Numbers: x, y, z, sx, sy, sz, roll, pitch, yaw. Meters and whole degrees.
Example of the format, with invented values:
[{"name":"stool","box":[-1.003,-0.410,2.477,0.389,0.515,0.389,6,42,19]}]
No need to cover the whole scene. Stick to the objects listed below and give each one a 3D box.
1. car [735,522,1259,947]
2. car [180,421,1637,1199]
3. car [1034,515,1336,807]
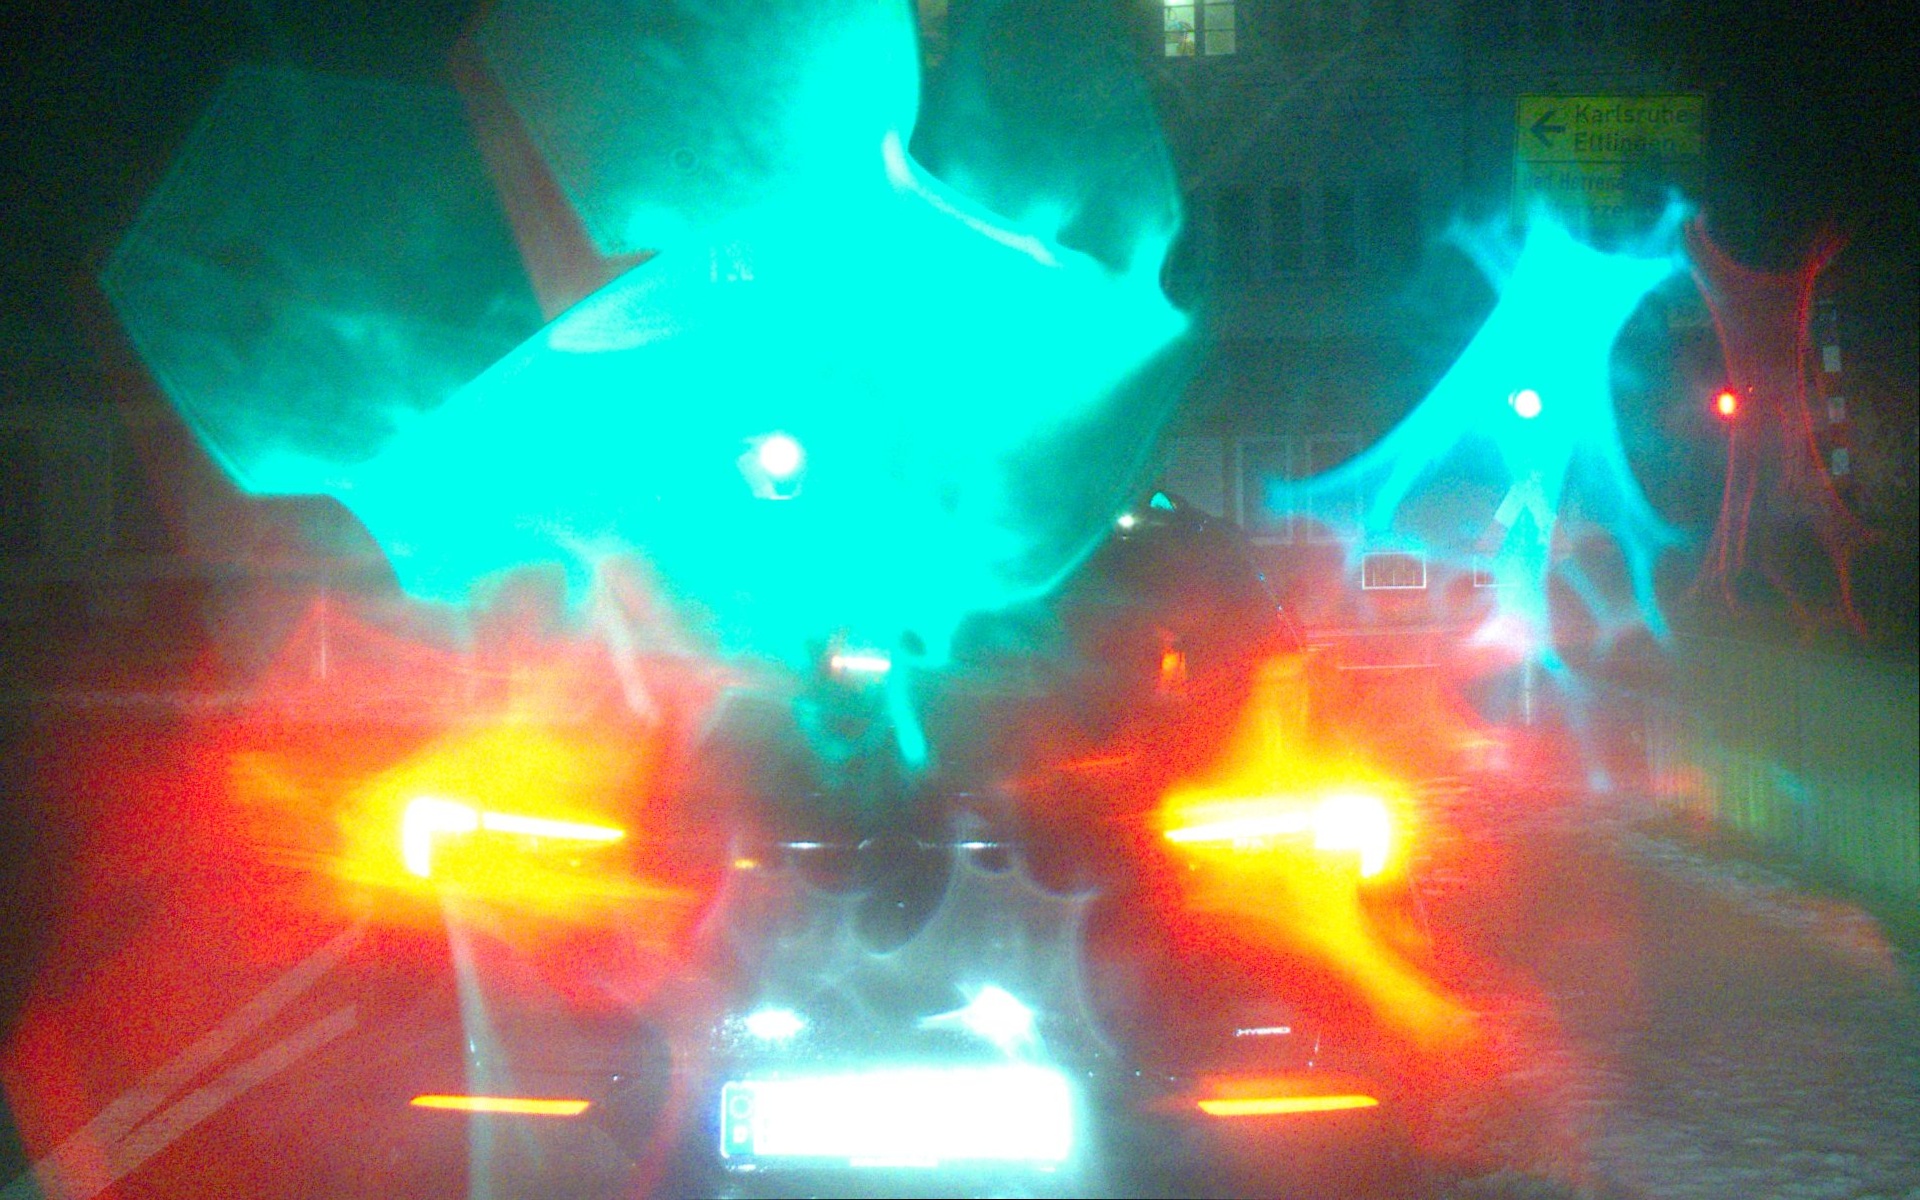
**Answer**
[{"name":"car","box":[0.142,0.463,15.108,1.909,1.505,4.241,-3,1,0]},{"name":"car","box":[-0.102,0.574,6.981,2.057,1.672,4.139,1,1,-1]},{"name":"car","box":[1.833,0.378,26.712,1.772,1.940,4.253,4,2,10]}]
